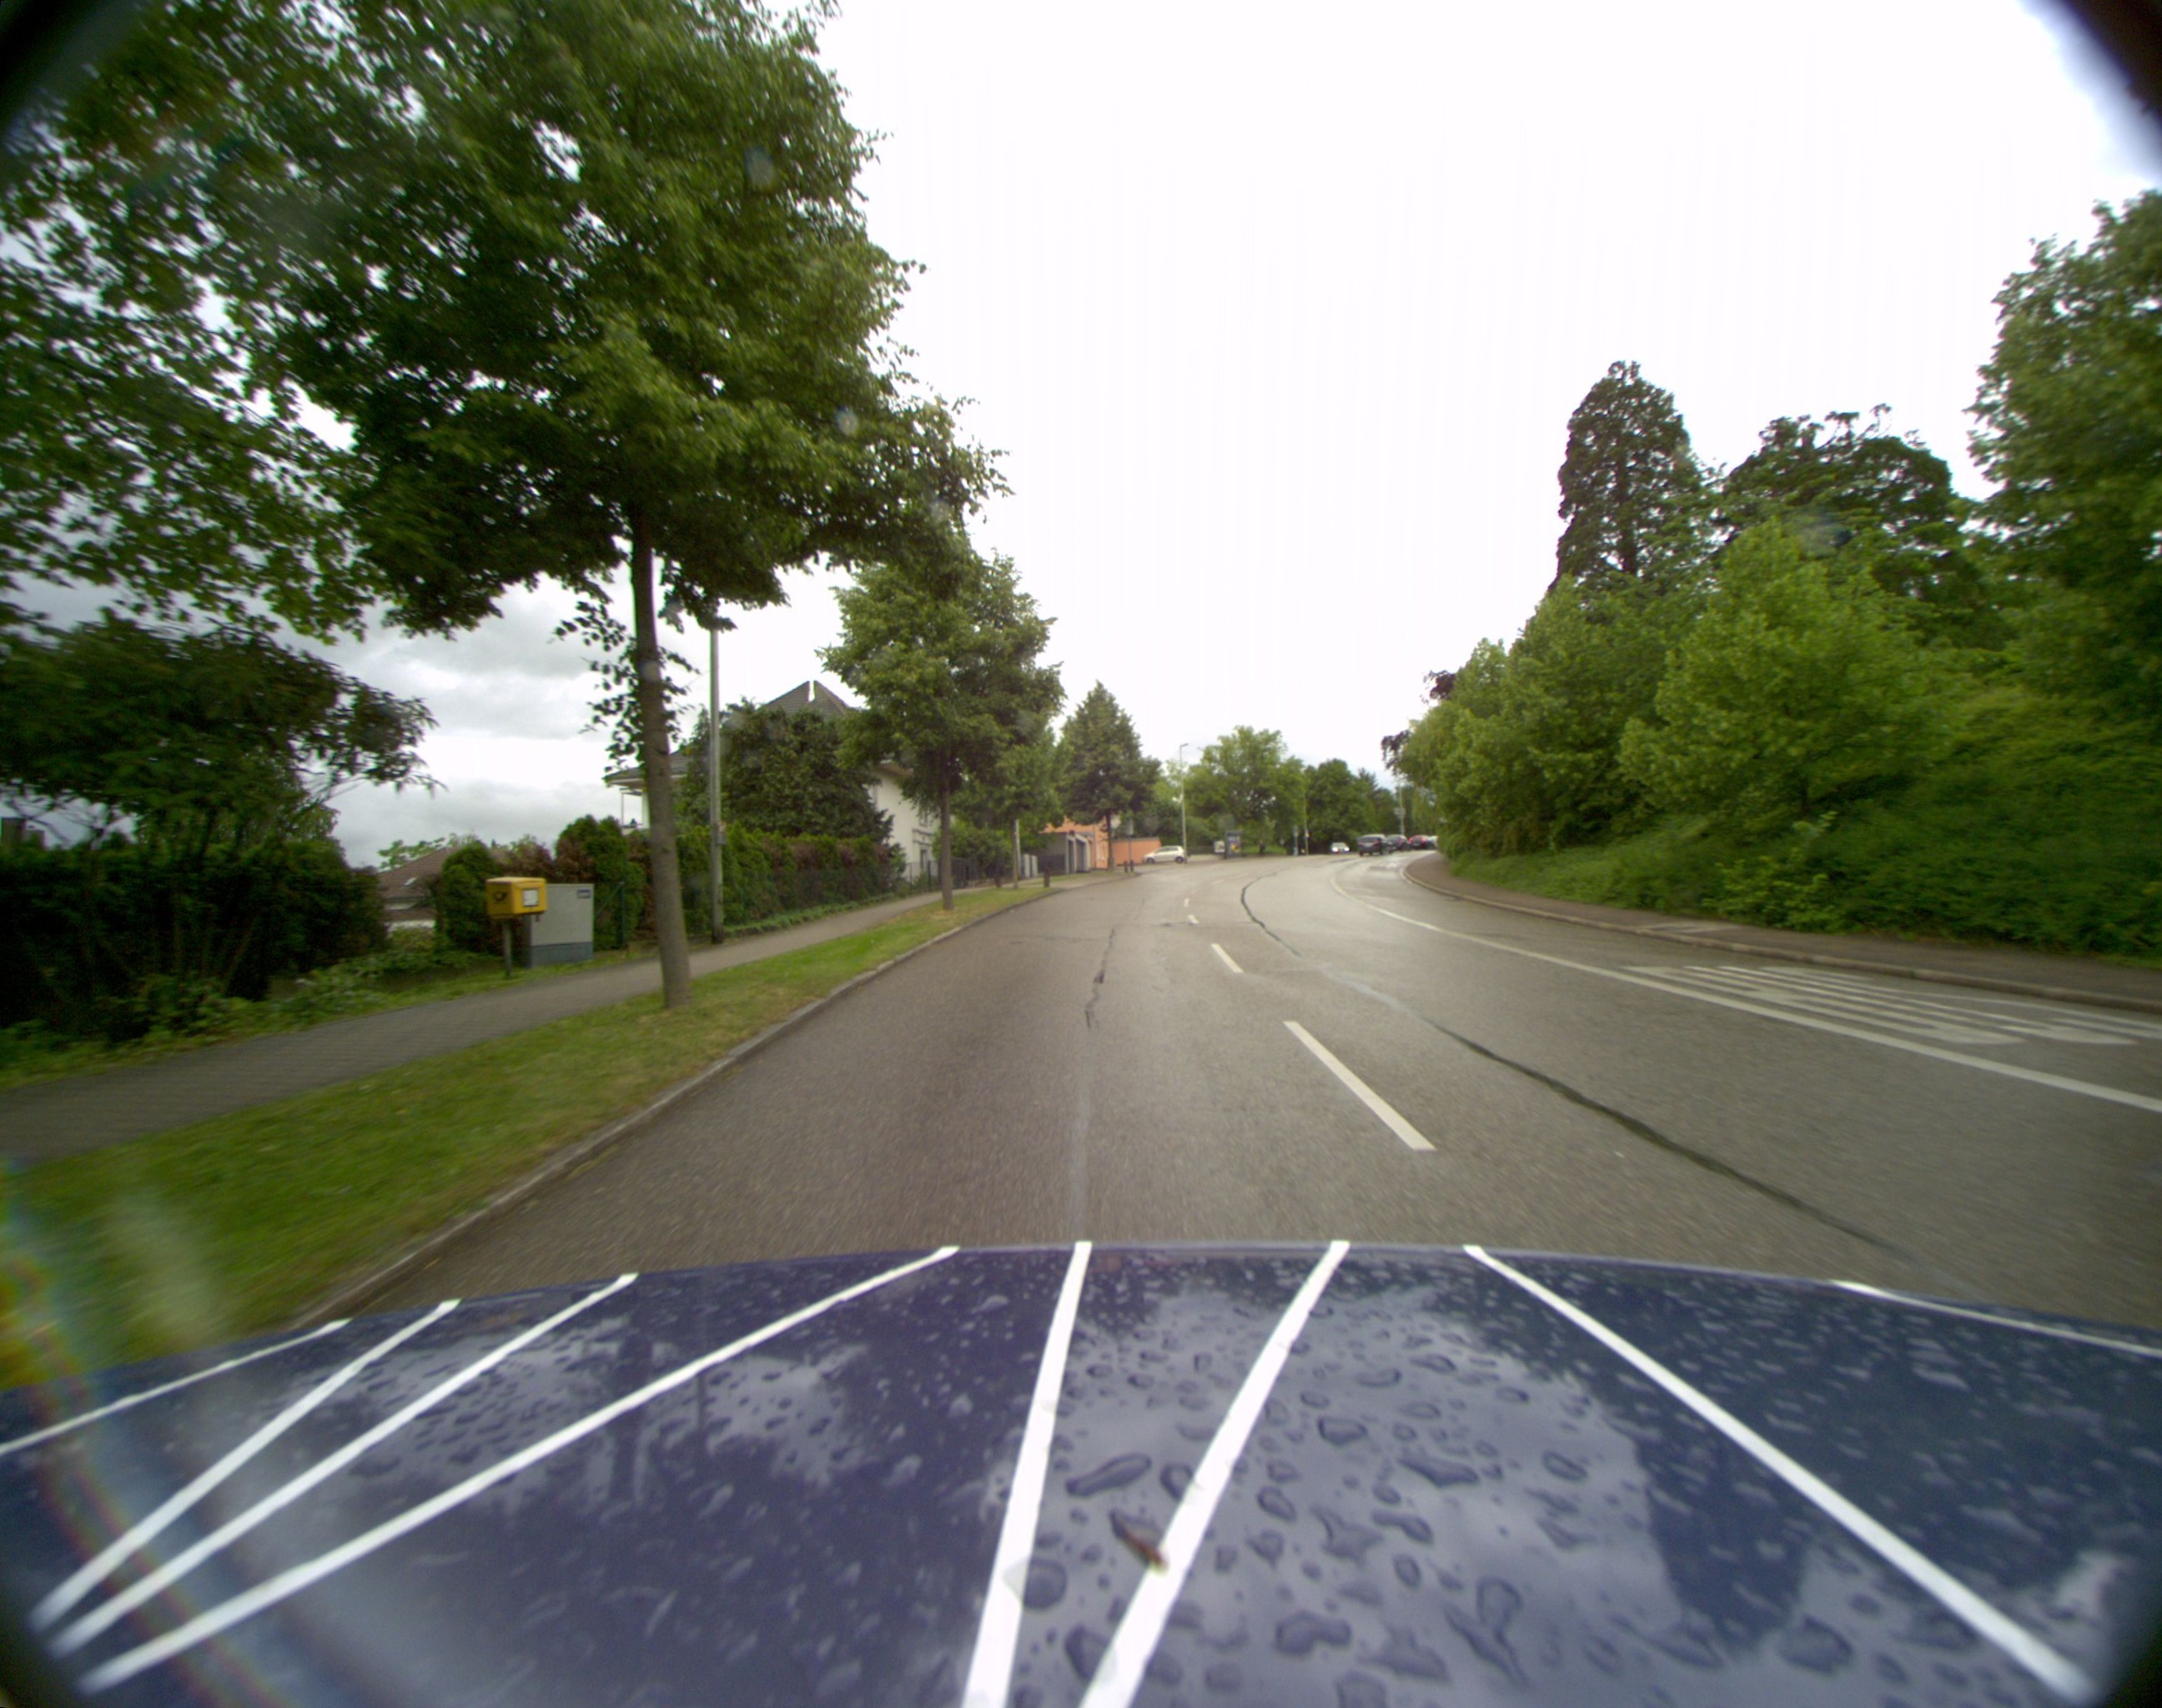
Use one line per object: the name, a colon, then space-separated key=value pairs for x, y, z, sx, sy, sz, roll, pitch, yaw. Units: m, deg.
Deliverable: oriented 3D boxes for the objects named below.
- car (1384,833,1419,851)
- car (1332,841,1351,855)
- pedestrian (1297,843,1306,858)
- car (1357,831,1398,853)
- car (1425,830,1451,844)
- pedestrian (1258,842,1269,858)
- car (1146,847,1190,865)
car: x=28.576 y=-1.081 z=67.624 sx=1.722 sy=1.455 sz=4.386 roll=-2 pitch=-1 yaw=39
car: x=30.913 y=-0.700 z=90.277 sx=1.860 sy=1.406 sz=4.392 roll=-3 pitch=-2 yaw=17
pedestrian: x=25.279 y=-0.426 z=87.099 sx=0.724 sy=1.722 sz=0.821 roll=-2 pitch=0 yaw=31
car: x=23.970 y=-1.014 z=61.320 sx=1.811 sy=1.568 sz=4.694 roll=-2 pitch=1 yaw=36
car: x=37.425 y=-1.763 z=79.616 sx=1.829 sy=1.393 sz=4.830 roll=-2 pitch=0 yaw=33
pedestrian: x=19.308 y=-0.466 z=80.379 sx=0.926 sy=1.645 sz=1.099 roll=-2 pitch=0 yaw=20
car: x=7.924 y=0.160 z=68.949 sx=3.864 sy=1.557 sz=1.728 roll=-1 pitch=0 yaw=10
